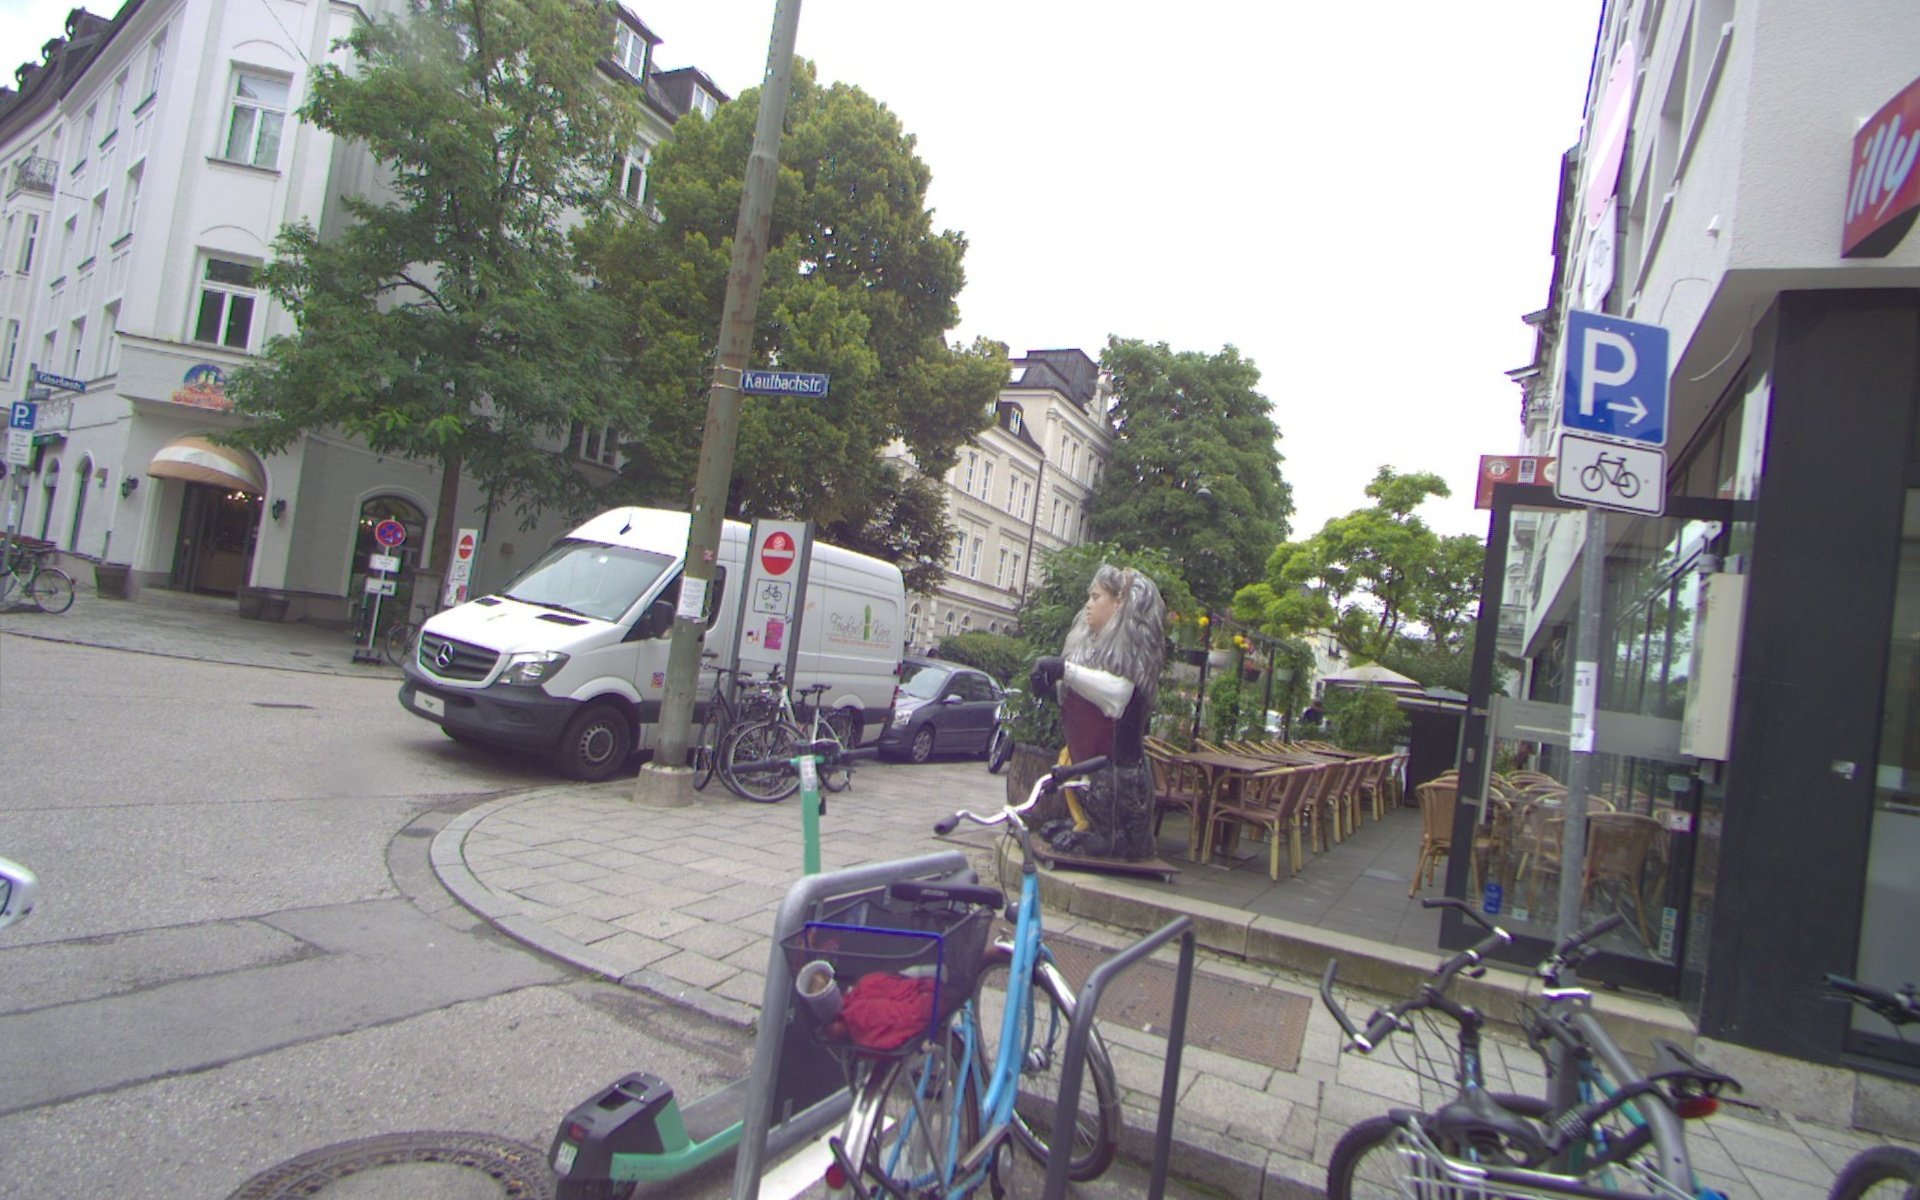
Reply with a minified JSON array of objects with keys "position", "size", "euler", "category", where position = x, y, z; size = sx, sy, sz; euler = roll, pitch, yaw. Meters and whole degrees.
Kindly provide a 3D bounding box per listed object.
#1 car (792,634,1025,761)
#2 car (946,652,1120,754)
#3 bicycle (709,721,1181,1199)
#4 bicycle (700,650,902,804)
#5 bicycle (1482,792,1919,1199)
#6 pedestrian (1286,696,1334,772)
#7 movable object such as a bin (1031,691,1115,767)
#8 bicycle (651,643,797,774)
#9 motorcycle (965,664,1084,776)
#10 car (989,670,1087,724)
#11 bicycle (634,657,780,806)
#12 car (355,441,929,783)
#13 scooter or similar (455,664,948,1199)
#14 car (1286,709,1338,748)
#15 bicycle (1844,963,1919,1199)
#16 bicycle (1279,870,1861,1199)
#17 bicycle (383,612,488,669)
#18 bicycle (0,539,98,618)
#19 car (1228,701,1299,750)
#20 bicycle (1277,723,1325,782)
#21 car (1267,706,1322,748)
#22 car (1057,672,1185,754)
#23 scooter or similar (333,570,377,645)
[{"position":[-0.649,1.576,15.817],"size":[1.764,1.463,4.003],"euler":[9,-3,27],"category":"car"},{"position":[1.614,2.147,20.472],"size":[1.780,1.585,4.255],"euler":[9,-3,28],"category":"car"},{"position":[0.071,0.982,2.408],"size":[0.437,1.299,1.463],"euler":[7,-3,25],"category":"bicycle"},{"position":[-1.328,1.118,8.846],"size":[0.582,1.139,1.908],"euler":[7,-4,29],"category":"bicycle"},{"position":[1.405,1.057,1.875],"size":[0.388,1.220,1.459],"euler":[8,-3,17],"category":"bicycle"},{"position":[8.707,3.332,25.033],"size":[0.685,1.734,0.716],"euler":[11,-3,-45],"category":"pedestrian"},{"position":[1.961,2.220,17.340],"size":[0.991,1.122,1.098],"euler":[7,-3,26],"category":"movable object such as a bin"},{"position":[-2.159,1.023,9.399],"size":[0.363,1.083,1.509],"euler":[7,-3,23],"category":"bicycle"},{"position":[0.974,1.729,14.375],"size":[0.647,1.399,2.178],"euler":[7,-4,30],"category":"motorcycle"},{"position":[2.724,3.337,34.294],"size":[1.781,1.453,4.058],"euler":[4,-5,28],"category":"car"},{"position":[-2.123,1.124,8.578],"size":[0.334,1.139,1.181],"euler":[7,-3,30],"category":"bicycle"},{"position":[-2.861,0.387,10.980],"size":[2.024,2.619,5.914],"euler":[8,-3,29],"category":"car"},{"position":[-0.591,0.858,2.822],"size":[0.410,1.223,1.358],"euler":[7,-3,26],"category":"scooter or similar"},{"position":[18.998,6.952,54.179],"size":[1.965,1.701,4.485],"euler":[7,-4,27],"category":"car"},{"position":[2.075,1.367,1.564],"size":[0.444,1.091,1.748],"euler":[9,-3,21],"category":"bicycle"},{"position":[0.879,1.187,1.829],"size":[0.454,1.081,1.459],"euler":[8,-3,17],"category":"bicycle"},{"position":[-8.832,0.690,16.960],"size":[1.411,0.792,0.537],"euler":[10,-3,-44],"category":"bicycle"},{"position":[-14.377,-0.343,15.611],"size":[1.722,1.011,0.541],"euler":[8,1,14],"category":"bicycle"},{"position":[12.380,5.117,40.876],"size":[1.901,1.608,4.169],"euler":[7,-4,27],"category":"car"},{"position":[7.268,3.256,21.412],"size":[0.465,1.139,1.413],"euler":[7,-4,35],"category":"bicycle"},{"position":[17.674,6.698,53.048],"size":[1.965,1.835,4.002],"euler":[7,-4,28],"category":"car"},{"position":[4.118,2.866,25.161],"size":[1.833,1.624,4.002],"euler":[7,-4,28],"category":"car"},{"position":[-11.267,0.121,18.754],"size":[0.424,1.293,1.270],"euler":[10,-2,-27],"category":"scooter or similar"}]
